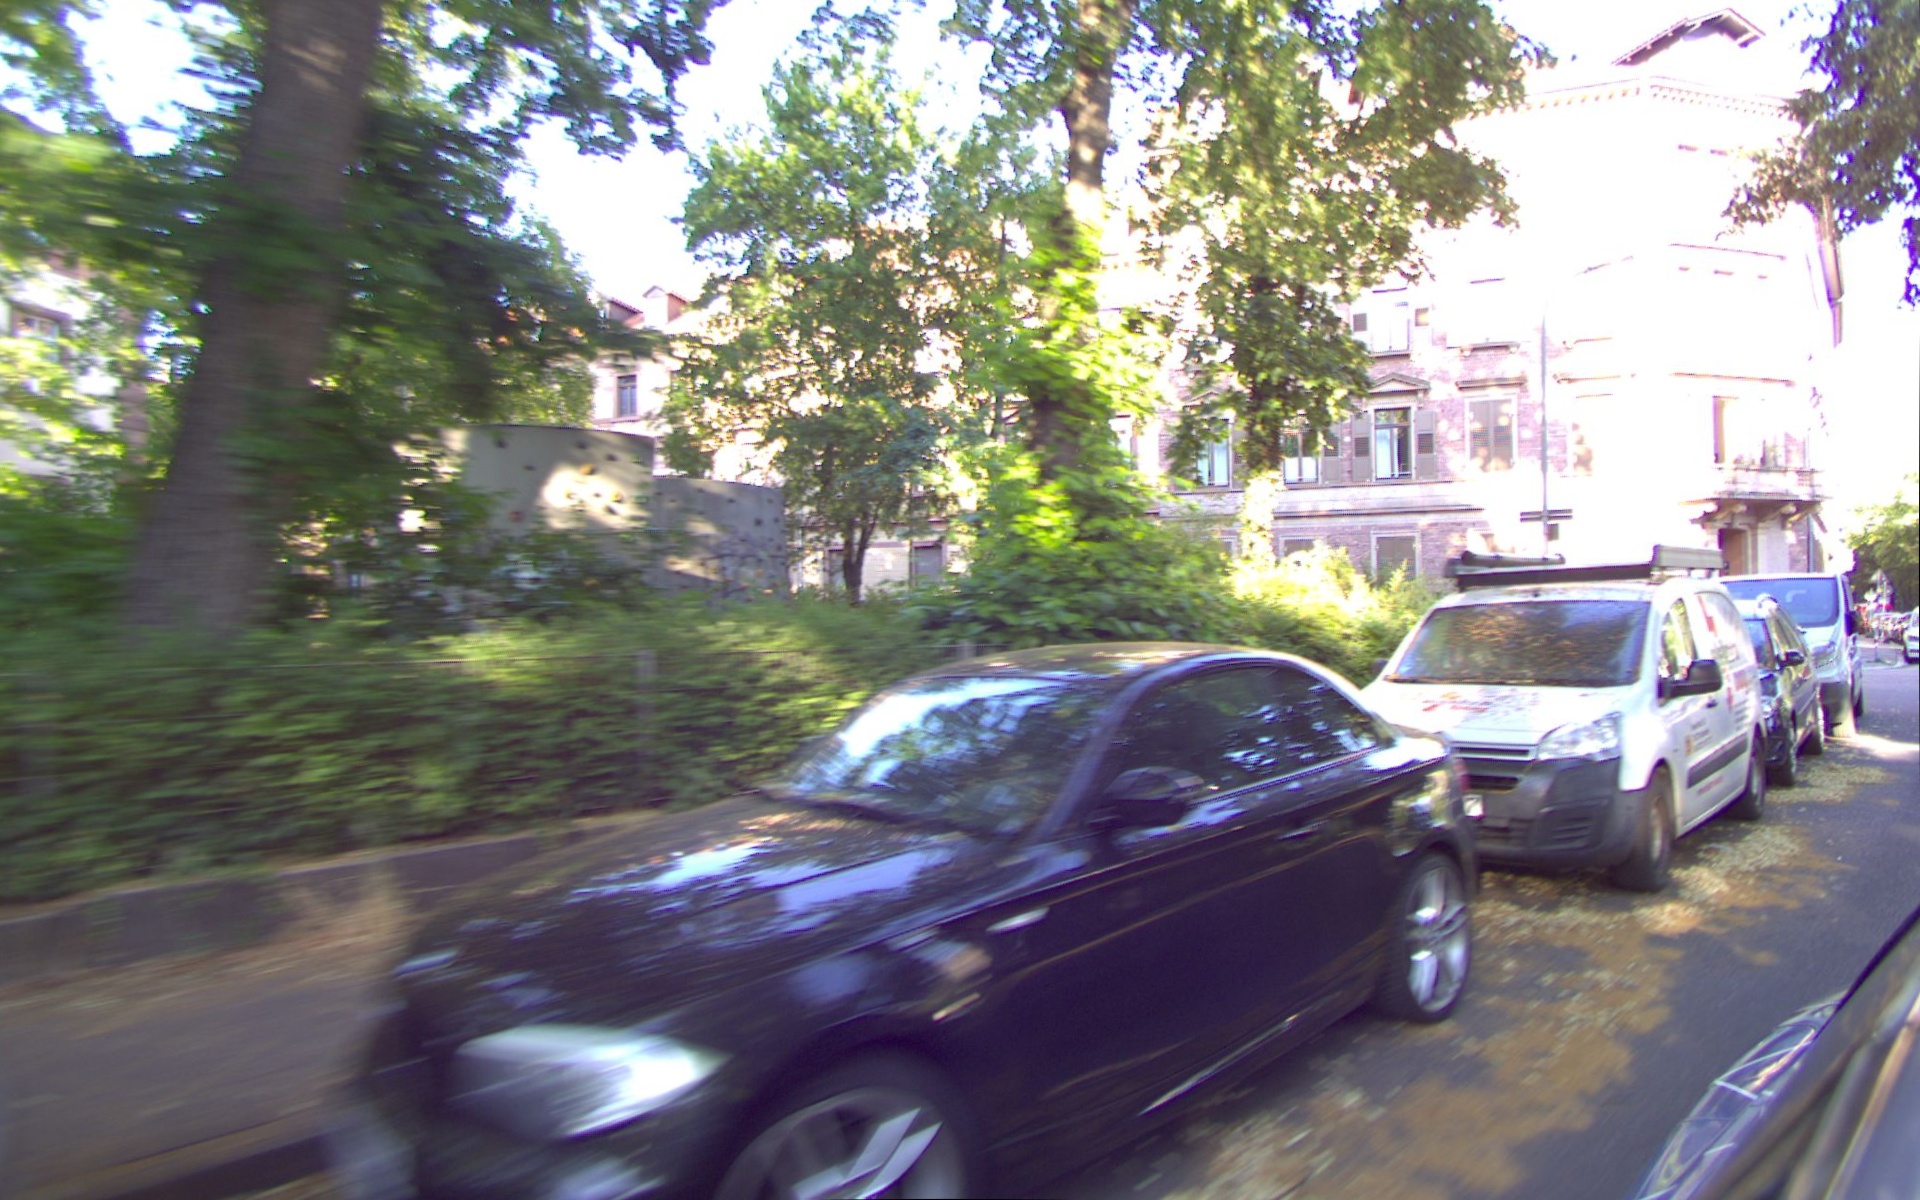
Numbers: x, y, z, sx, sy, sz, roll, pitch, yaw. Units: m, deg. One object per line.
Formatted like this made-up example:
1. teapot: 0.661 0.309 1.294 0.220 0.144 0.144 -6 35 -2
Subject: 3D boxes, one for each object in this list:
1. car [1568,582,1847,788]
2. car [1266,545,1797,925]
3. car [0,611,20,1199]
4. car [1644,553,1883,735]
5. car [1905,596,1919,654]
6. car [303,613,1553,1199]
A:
1. car: 7.453 0.686 9.952 3.831 1.636 1.567 0 -1 -44
2. car: 4.007 0.628 6.746 4.302 1.729 1.789 0 -1 -42
3. car: -3.207 0.759 0.580 3.825 1.477 1.675 0 -1 -41
4. car: 10.881 0.493 13.516 1.965 1.960 5.369 -2 -1 44
5. car: 29.160 0.639 29.571 1.933 1.643 4.181 -6 -4 40
6. car: 0.338 0.782 3.485 4.191 1.408 1.675 0 -1 -41
